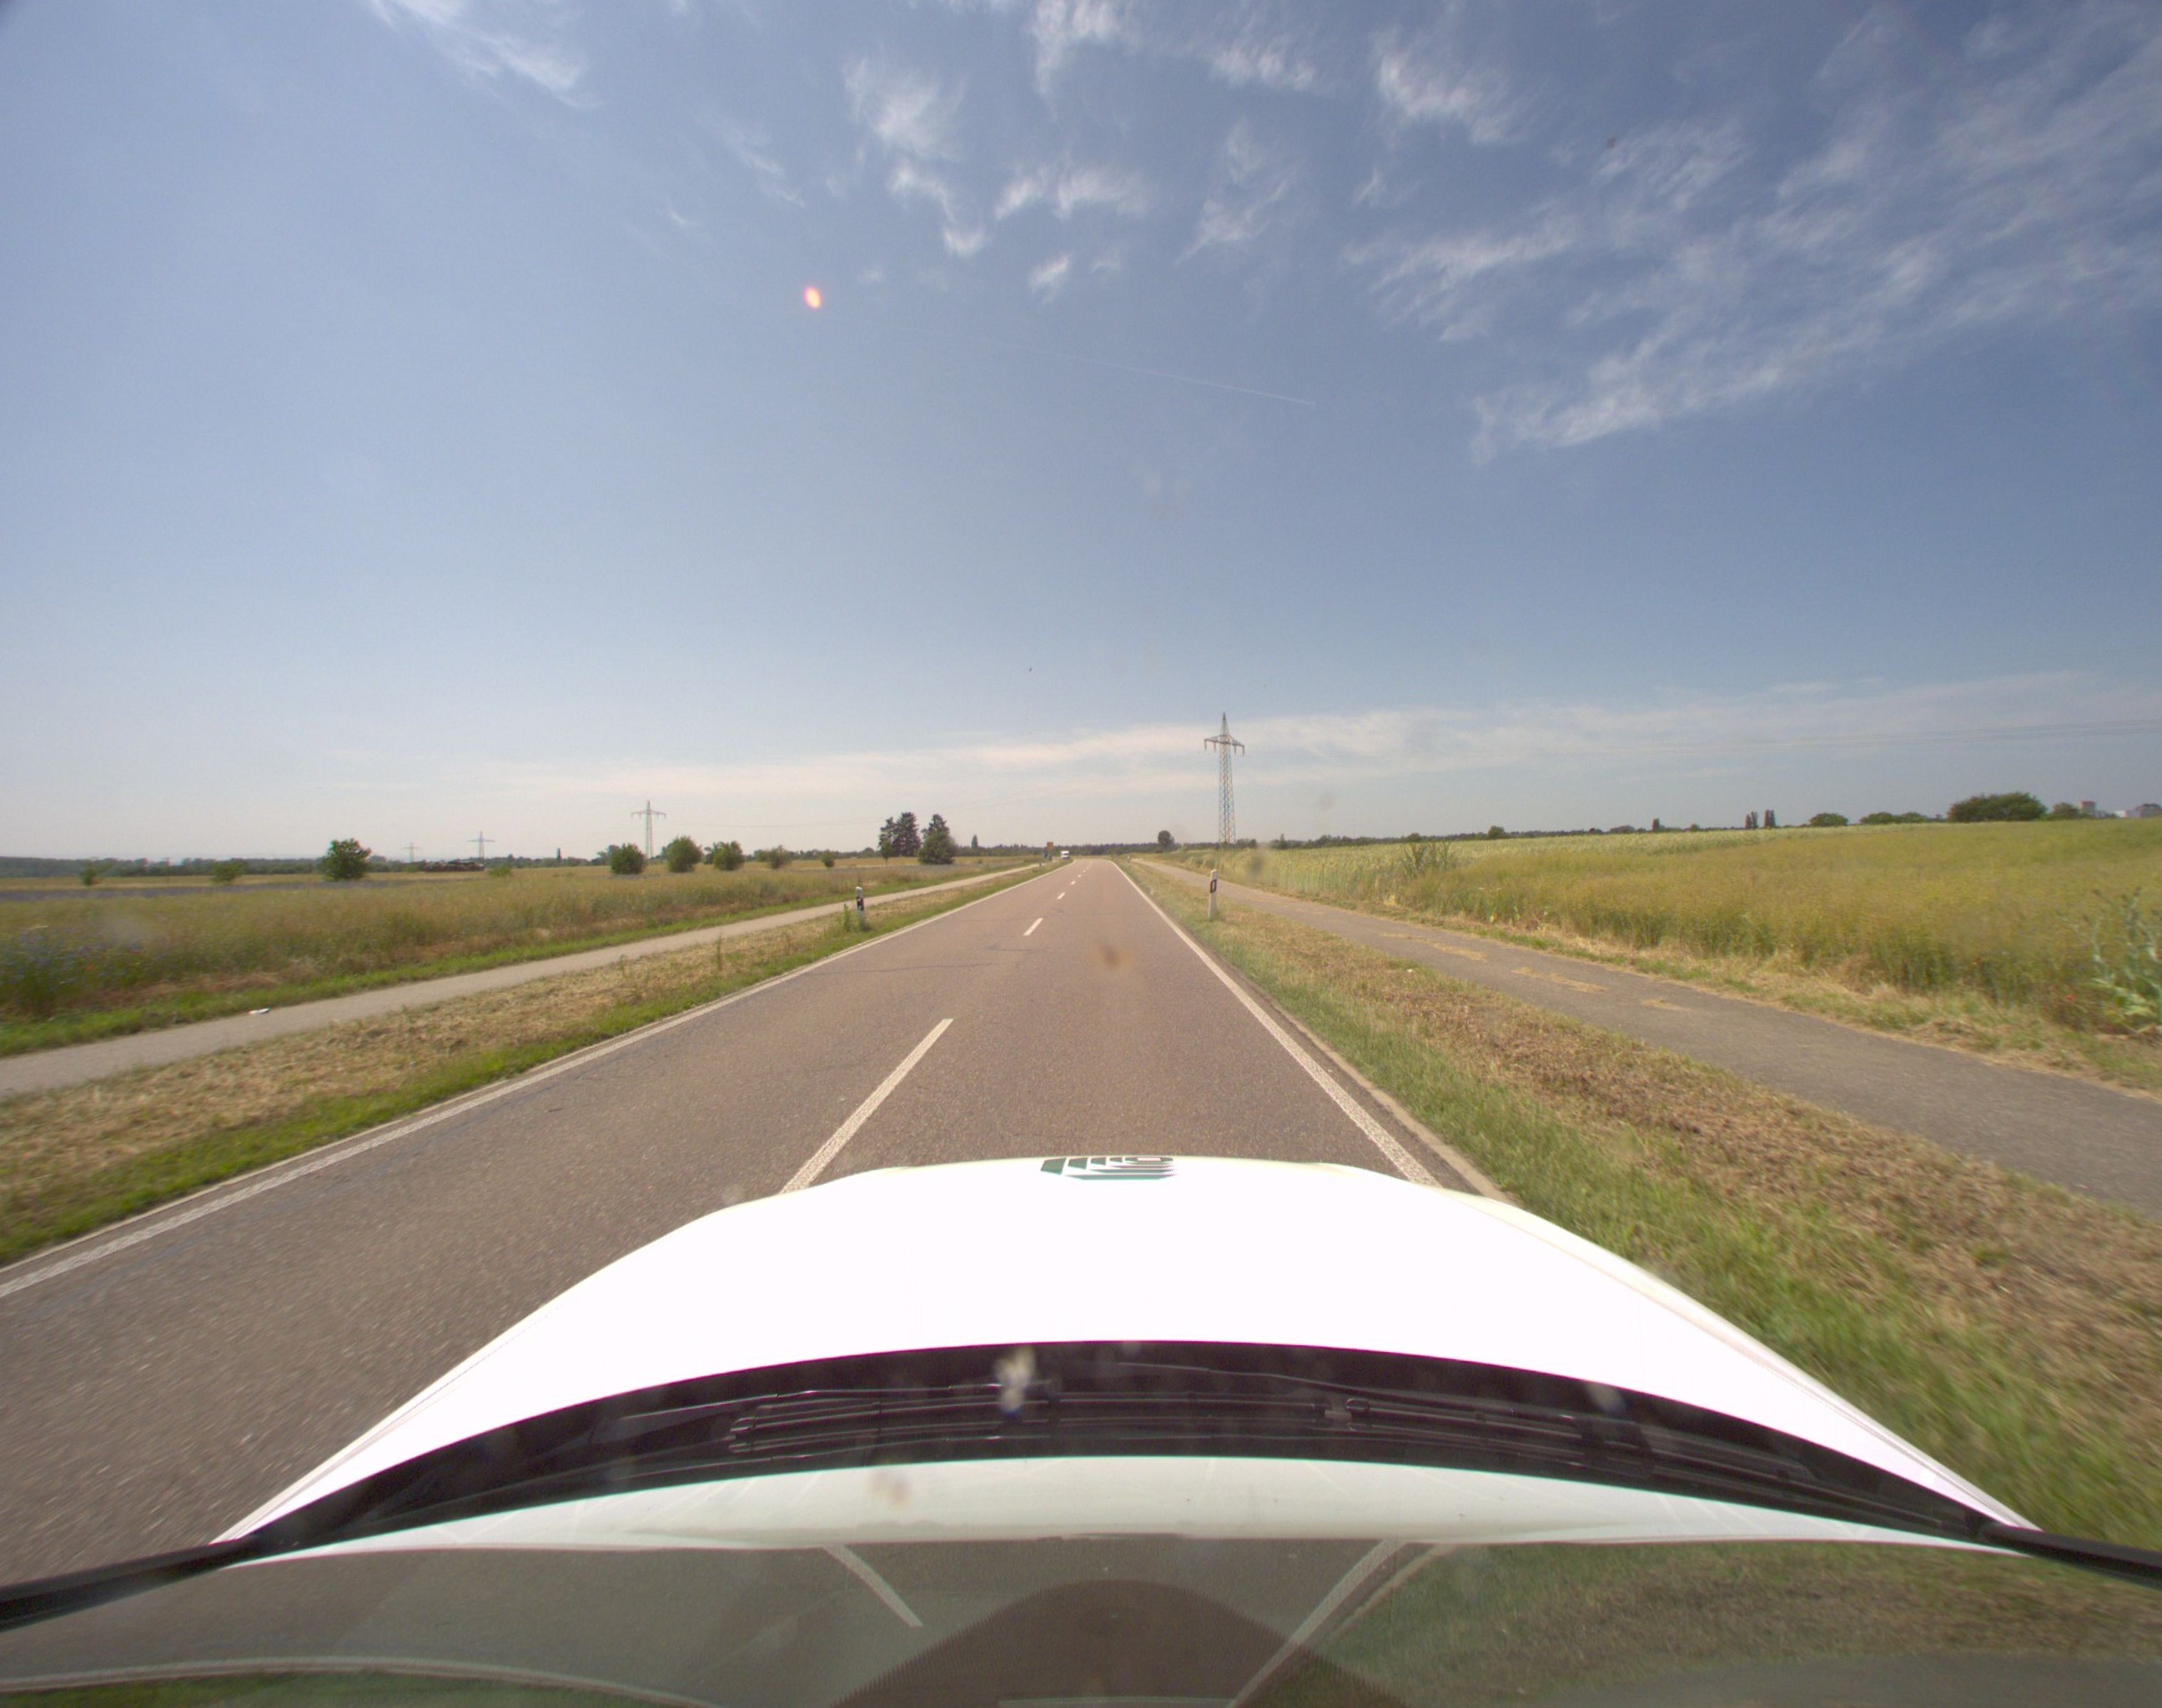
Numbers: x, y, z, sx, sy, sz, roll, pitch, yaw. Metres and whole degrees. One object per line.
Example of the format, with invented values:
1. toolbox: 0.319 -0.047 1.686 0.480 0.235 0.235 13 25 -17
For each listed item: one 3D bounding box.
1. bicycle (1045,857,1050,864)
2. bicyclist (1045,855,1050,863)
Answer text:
1. bicycle: -6.008 1.097 146.789 0.760 1.229 2.216 -2 0 1
2. bicyclist: -6.038 0.903 146.693 0.699 1.331 0.965 -2 0 1
